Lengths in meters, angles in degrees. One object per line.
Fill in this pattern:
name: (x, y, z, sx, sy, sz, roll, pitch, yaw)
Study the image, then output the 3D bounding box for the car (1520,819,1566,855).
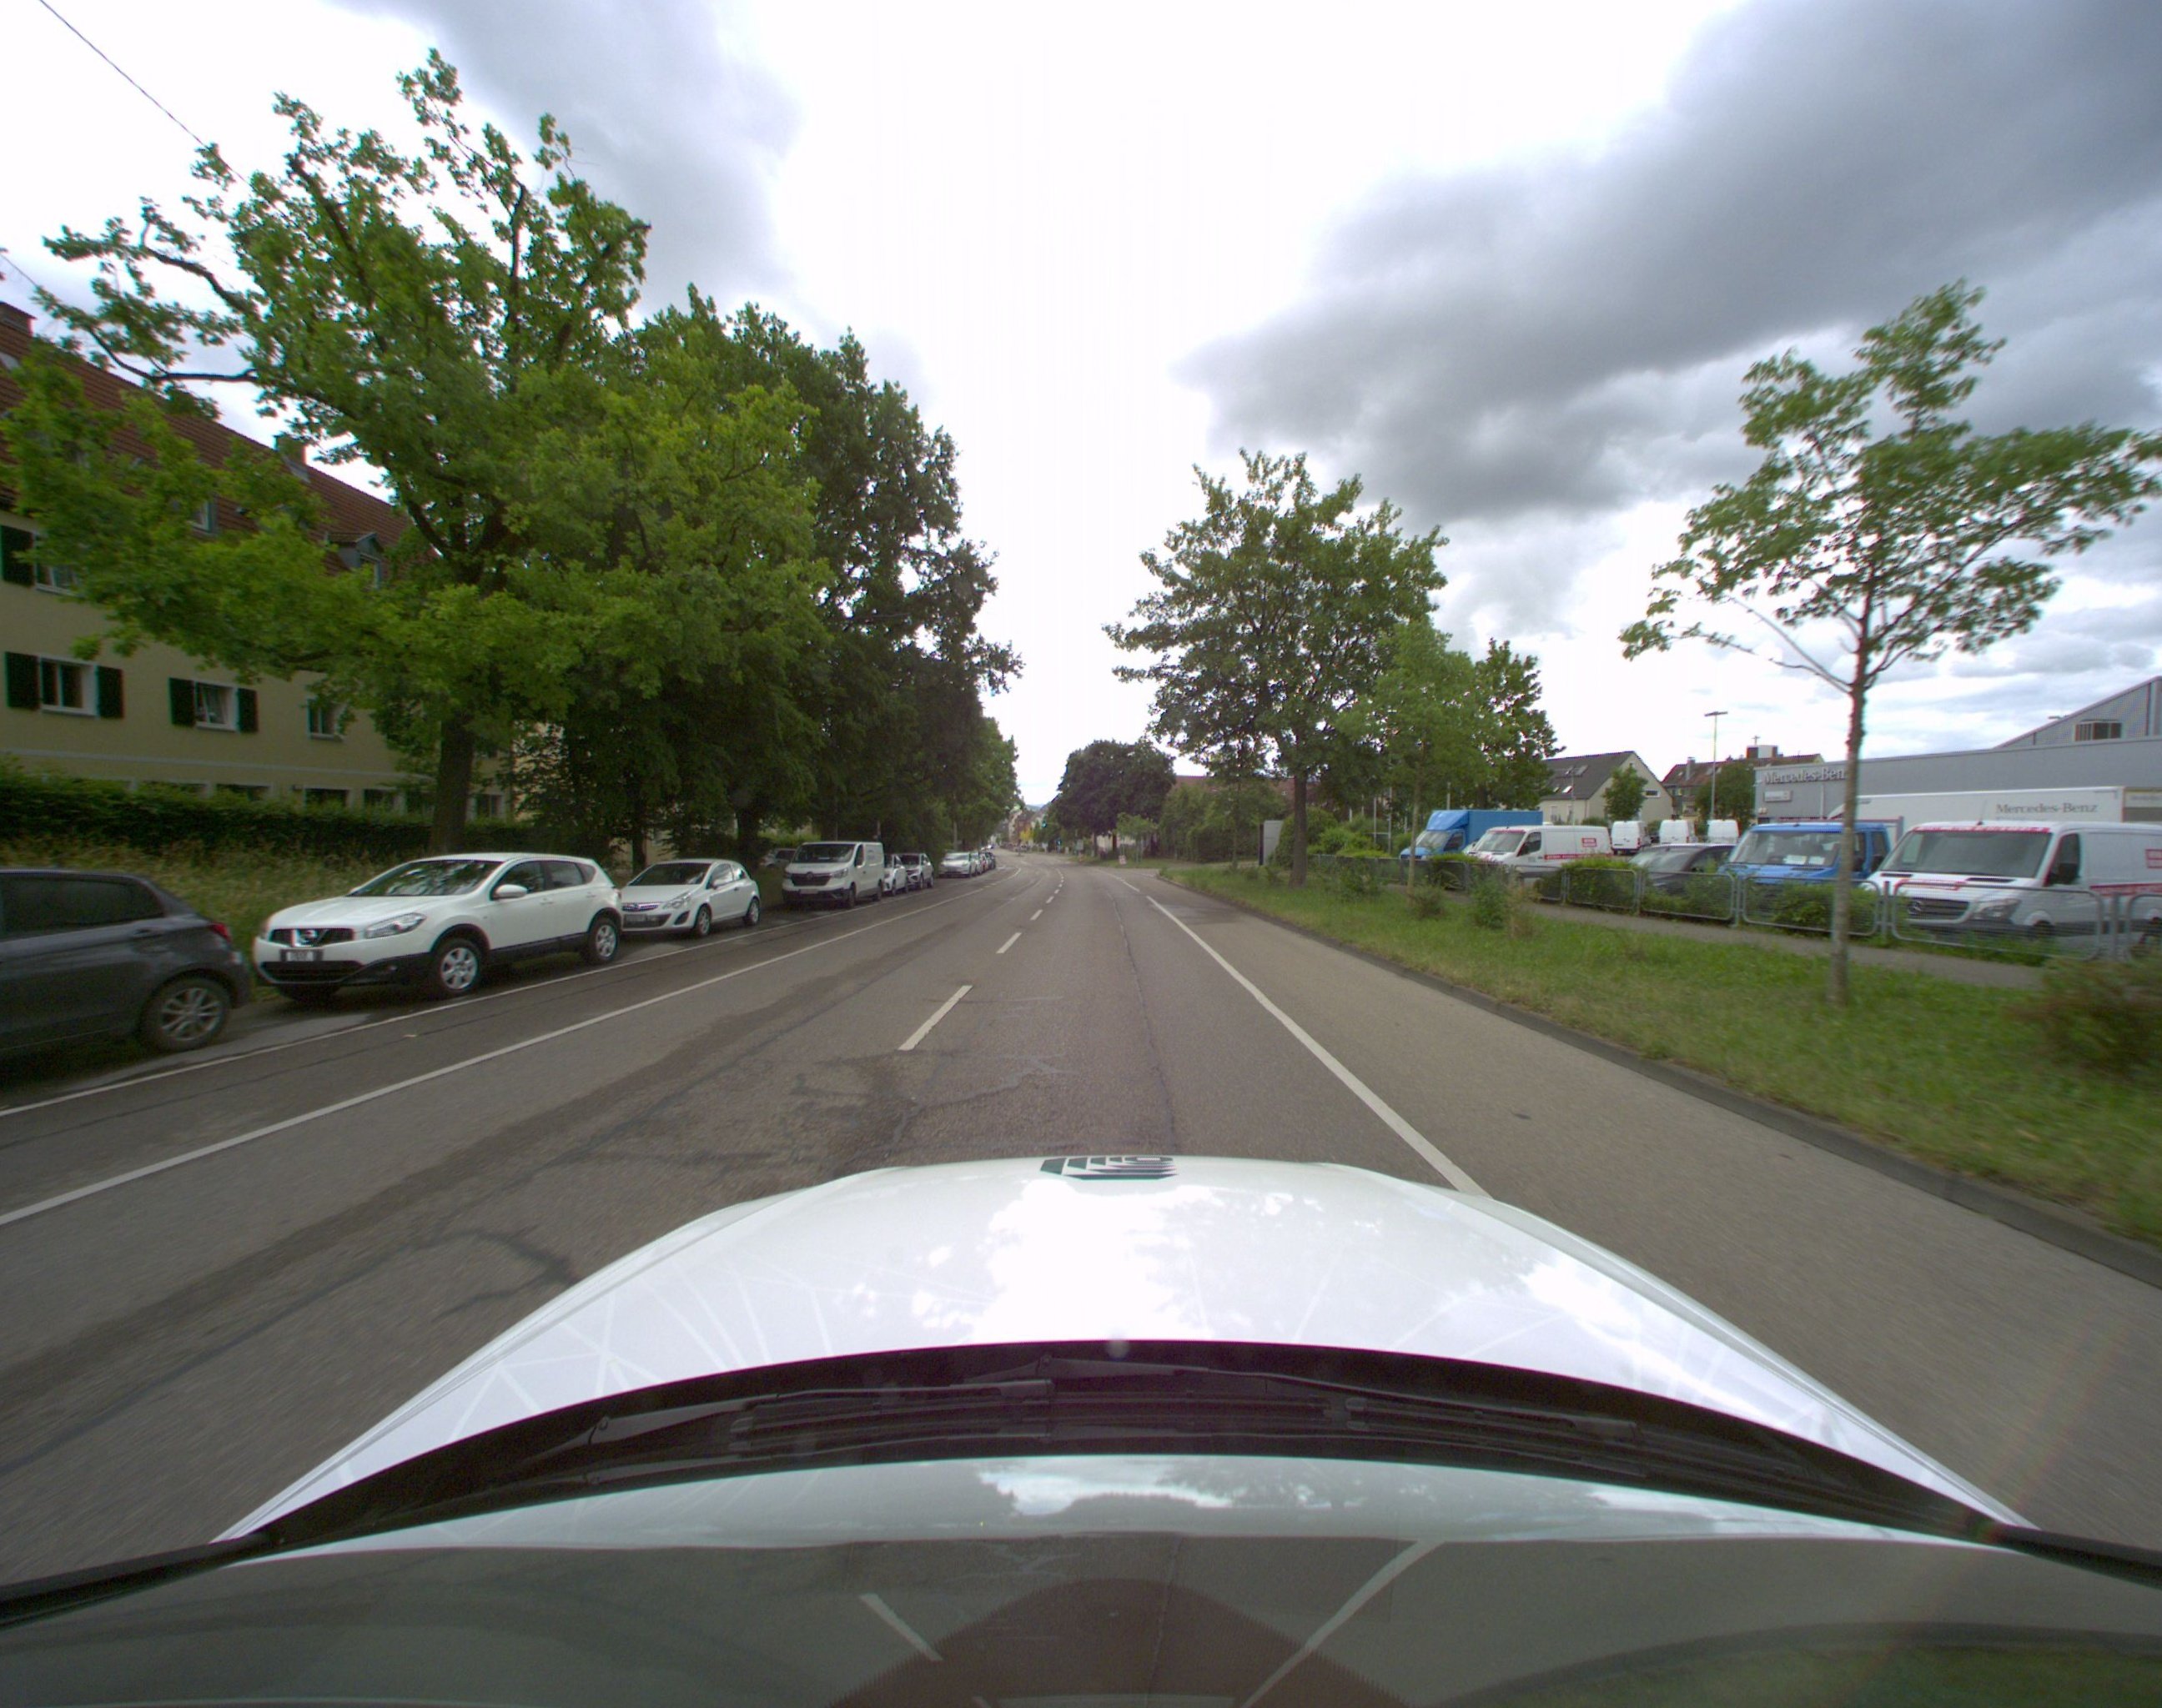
car: (37.150, -1.400, 65.419, 2.234, 2.676, 5.485, 1, 3, 40)

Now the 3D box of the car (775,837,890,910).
car: (-7.360, 0.524, 24.725, 1.860, 1.963, 5.127, 0, 0, 0)

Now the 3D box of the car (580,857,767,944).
car: (-7.821, 0.812, 16.108, 1.657, 1.479, 4.089, 0, 0, -1)

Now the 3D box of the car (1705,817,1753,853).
car: (50.767, -1.527, 63.774, 5.482, 2.676, 2.235, -3, 3, -44)

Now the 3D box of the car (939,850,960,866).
car: (-14.377, 0.377, 89.386, 1.757, 1.633, 3.995, 3, 0, -3)

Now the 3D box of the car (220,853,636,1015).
car: (-7.583, 0.782, 10.142, 1.667, 1.564, 4.282, -1, 0, 1)

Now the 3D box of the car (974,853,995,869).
car: (-8.715, 0.629, 73.912, 1.712, 1.389, 4.331, 0, 0, -4)

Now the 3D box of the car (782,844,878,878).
car: (-13.410, 0.376, 43.696, 4.414, 1.454, 1.888, 4, 0, 2)

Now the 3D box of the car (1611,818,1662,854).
car: (43.463, -1.462, 63.677, 5.482, 2.676, 2.235, -3, 3, -44)

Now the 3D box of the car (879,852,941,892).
car: (-7.326, 0.721, 35.258, 1.760, 1.633, 4.158, 0, 0, 1)

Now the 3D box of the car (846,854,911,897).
car: (-7.472, 0.762, 30.352, 1.577, 1.482, 3.718, 0, 0, -1)

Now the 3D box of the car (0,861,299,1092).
car: (-7.921, 0.835, 5.257, 1.666, 1.488, 4.048, -2, 0, 3)

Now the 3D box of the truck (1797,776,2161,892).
truck: (31.878, -0.611, 29.314, 2.853, 3.459, 9.509, 1, 0, -10)

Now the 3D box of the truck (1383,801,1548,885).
truck: (17.217, -0.508, 36.423, 7.194, 3.477, 2.599, -1, 0, -23)

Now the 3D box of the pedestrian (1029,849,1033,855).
pedestrian: (-15.629, -0.722, 255.873, 1.198, 1.810, 1.298, 1, 0, -6)

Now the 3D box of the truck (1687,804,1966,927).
truck: (15.680, 0.221, 17.051, 6.266, 2.212, 2.228, 1, 0, -27)

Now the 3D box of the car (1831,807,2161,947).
car: (15.369, 0.342, 13.414, 5.828, 1.956, 2.057, 1, 0, -21)

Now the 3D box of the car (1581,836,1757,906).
car: (14.870, 0.406, 20.585, 4.008, 1.629, 1.983, 1, 0, -26)

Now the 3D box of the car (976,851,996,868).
car: (-9.258, 0.516, 79.492, 1.712, 1.612, 4.528, 0, 1, -4)

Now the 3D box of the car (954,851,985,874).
car: (-7.798, 0.572, 57.274, 1.865, 1.573, 4.113, 0, 0, -4)

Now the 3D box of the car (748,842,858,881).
car: (-13.018, 0.352, 38.332, 4.423, 1.450, 1.866, 4, 0, -4)

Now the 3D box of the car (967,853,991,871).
car: (-8.469, 0.631, 67.746, 1.712, 1.459, 4.749, 0, 0, -4)

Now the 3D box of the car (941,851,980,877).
car: (-7.631, 0.602, 51.899, 1.761, 1.573, 4.759, -1, 0, 0)

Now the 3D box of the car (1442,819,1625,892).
car: (15.820, 0.077, 28.456, 6.035, 2.367, 2.345, 1, 0, -22)
